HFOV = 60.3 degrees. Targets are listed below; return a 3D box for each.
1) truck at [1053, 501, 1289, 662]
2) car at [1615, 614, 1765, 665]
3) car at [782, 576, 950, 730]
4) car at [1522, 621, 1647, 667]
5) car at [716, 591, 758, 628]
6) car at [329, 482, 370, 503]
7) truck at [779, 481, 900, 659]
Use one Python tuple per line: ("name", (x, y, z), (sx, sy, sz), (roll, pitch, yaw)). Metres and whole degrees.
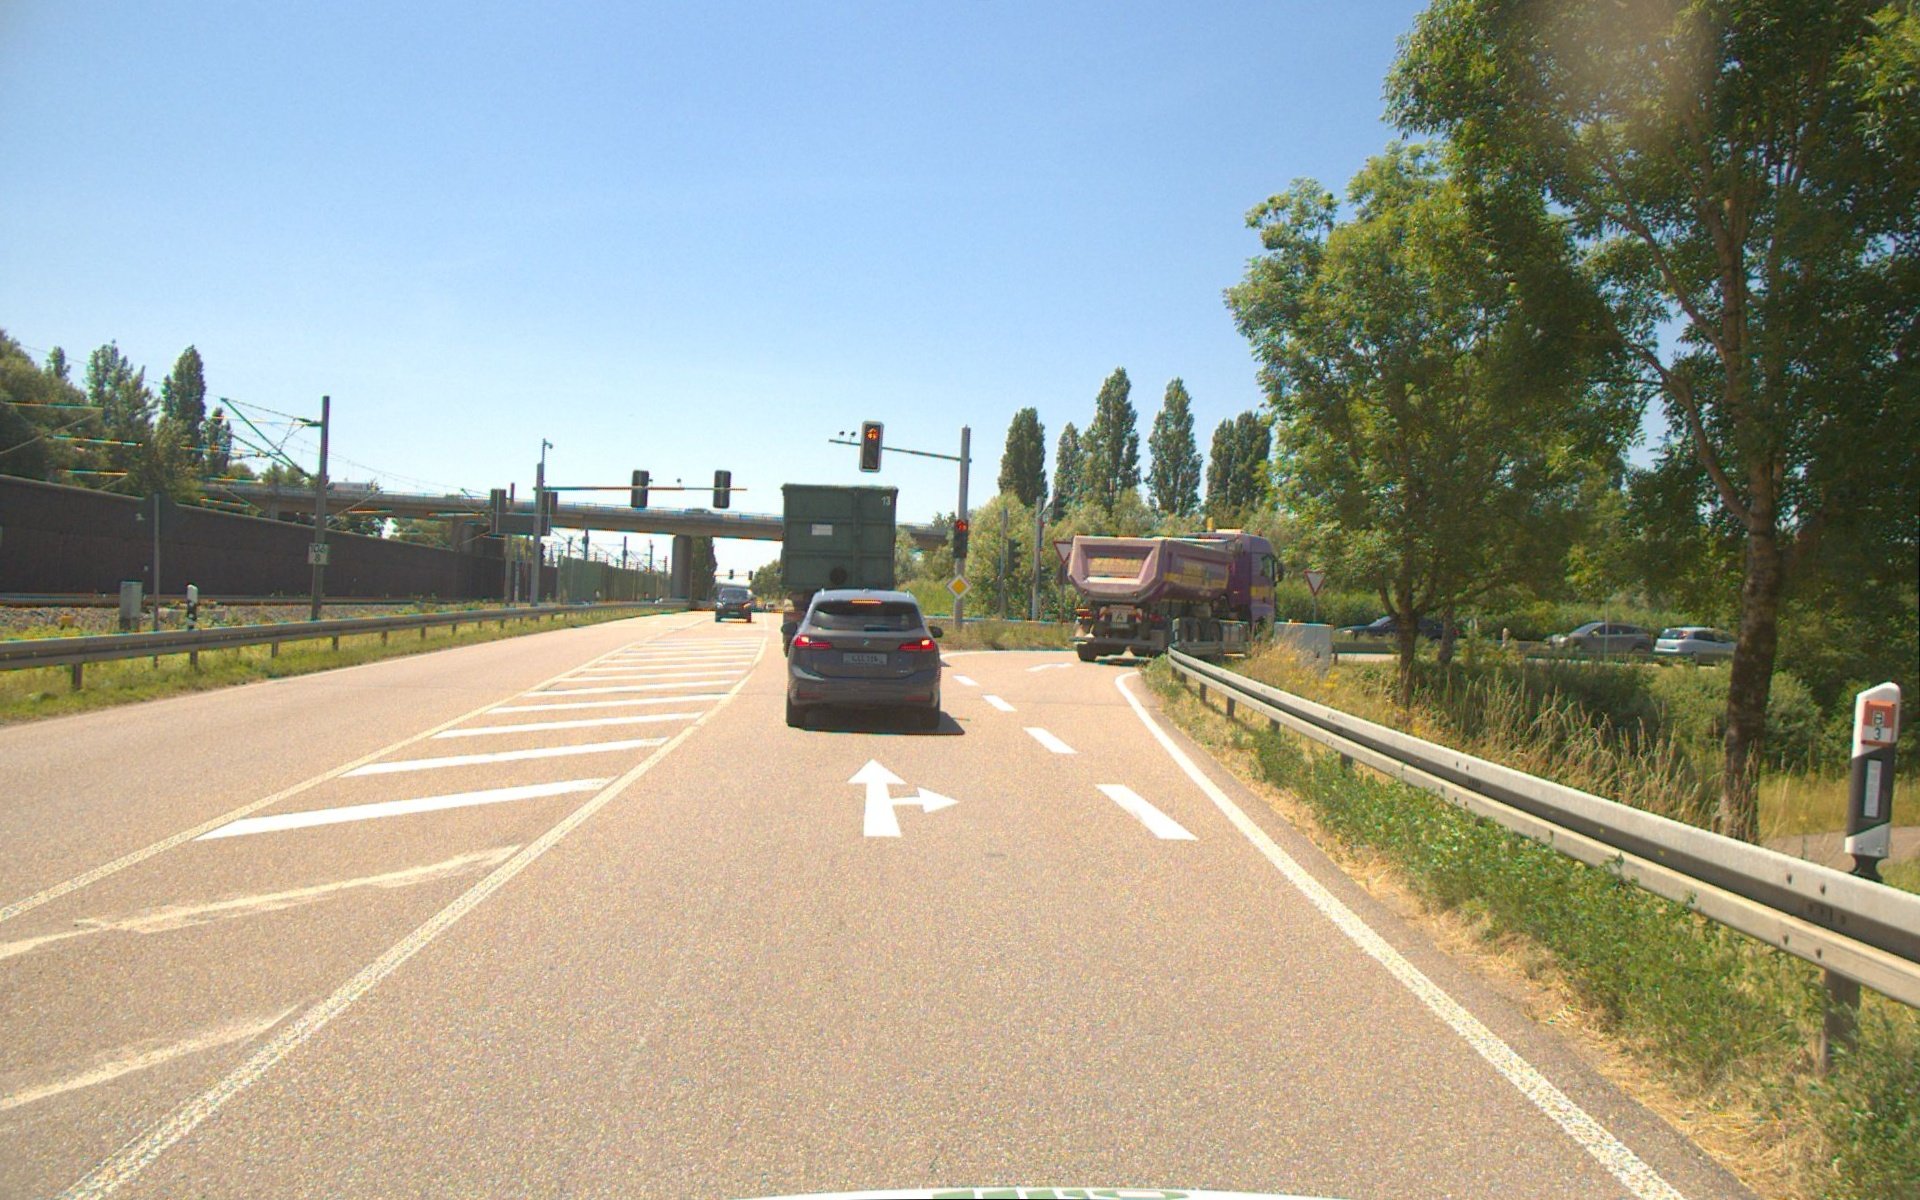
("truck", (6.203, -0.409, 46.000), (2.778, 3.888, 11.873), (1, 0, 26))
("car", (25.688, 1.375, 58.259), (4.565, 1.660, 1.929), (2, 0, -11))
("car", (-1.110, 0.589, 20.340), (1.808, 1.651, 4.224), (2, 0, -2))
("car", (24.513, 1.731, 64.965), (4.142, 1.660, 1.932), (2, 0, -5))
("car", (-11.777, 0.485, 87.567), (1.890, 1.798, 4.593), (3, 0, -5))
("car", (-69.505, -12.232, 188.316), (3.910, 2.049, 1.997), (2, 0, -6))
("truck", (-3.056, -0.690, 40.882), (2.539, 3.803, 9.565), (1, 0, -5))
